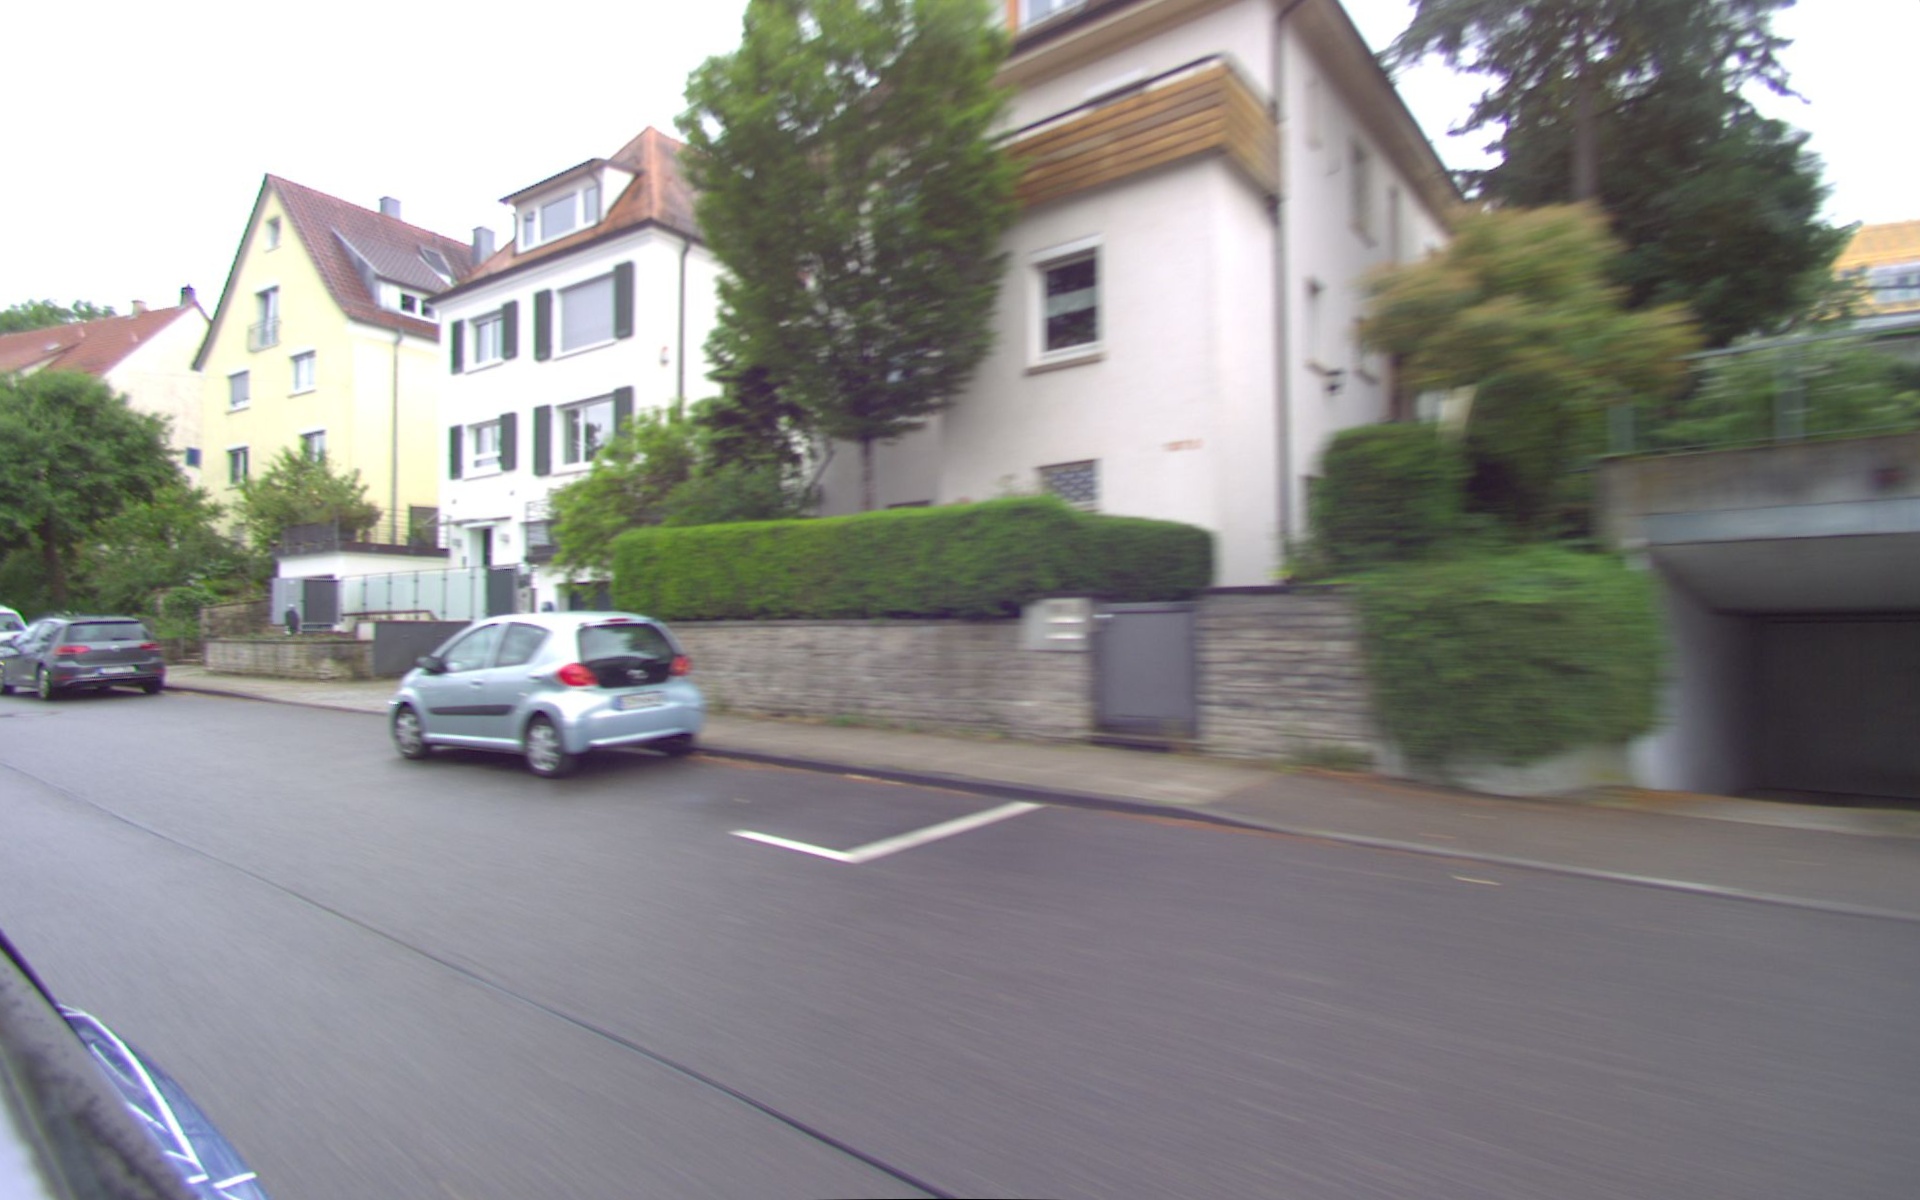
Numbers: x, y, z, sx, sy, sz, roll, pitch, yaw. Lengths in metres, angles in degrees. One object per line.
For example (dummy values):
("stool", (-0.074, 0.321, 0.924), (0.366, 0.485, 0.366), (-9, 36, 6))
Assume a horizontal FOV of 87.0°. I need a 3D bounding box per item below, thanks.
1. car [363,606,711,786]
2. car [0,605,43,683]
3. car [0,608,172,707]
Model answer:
("car", (-4.274, 0.835, 10.087), (3.478, 1.497, 1.591), (-1, -1, 35))
("car", (-23.717, 1.078, 23.696), (4.720, 1.715, 1.980), (-2, 1, 31))
("car", (-16.682, 1.035, 18.948), (4.126, 1.592, 1.778), (-2, 1, 33))
